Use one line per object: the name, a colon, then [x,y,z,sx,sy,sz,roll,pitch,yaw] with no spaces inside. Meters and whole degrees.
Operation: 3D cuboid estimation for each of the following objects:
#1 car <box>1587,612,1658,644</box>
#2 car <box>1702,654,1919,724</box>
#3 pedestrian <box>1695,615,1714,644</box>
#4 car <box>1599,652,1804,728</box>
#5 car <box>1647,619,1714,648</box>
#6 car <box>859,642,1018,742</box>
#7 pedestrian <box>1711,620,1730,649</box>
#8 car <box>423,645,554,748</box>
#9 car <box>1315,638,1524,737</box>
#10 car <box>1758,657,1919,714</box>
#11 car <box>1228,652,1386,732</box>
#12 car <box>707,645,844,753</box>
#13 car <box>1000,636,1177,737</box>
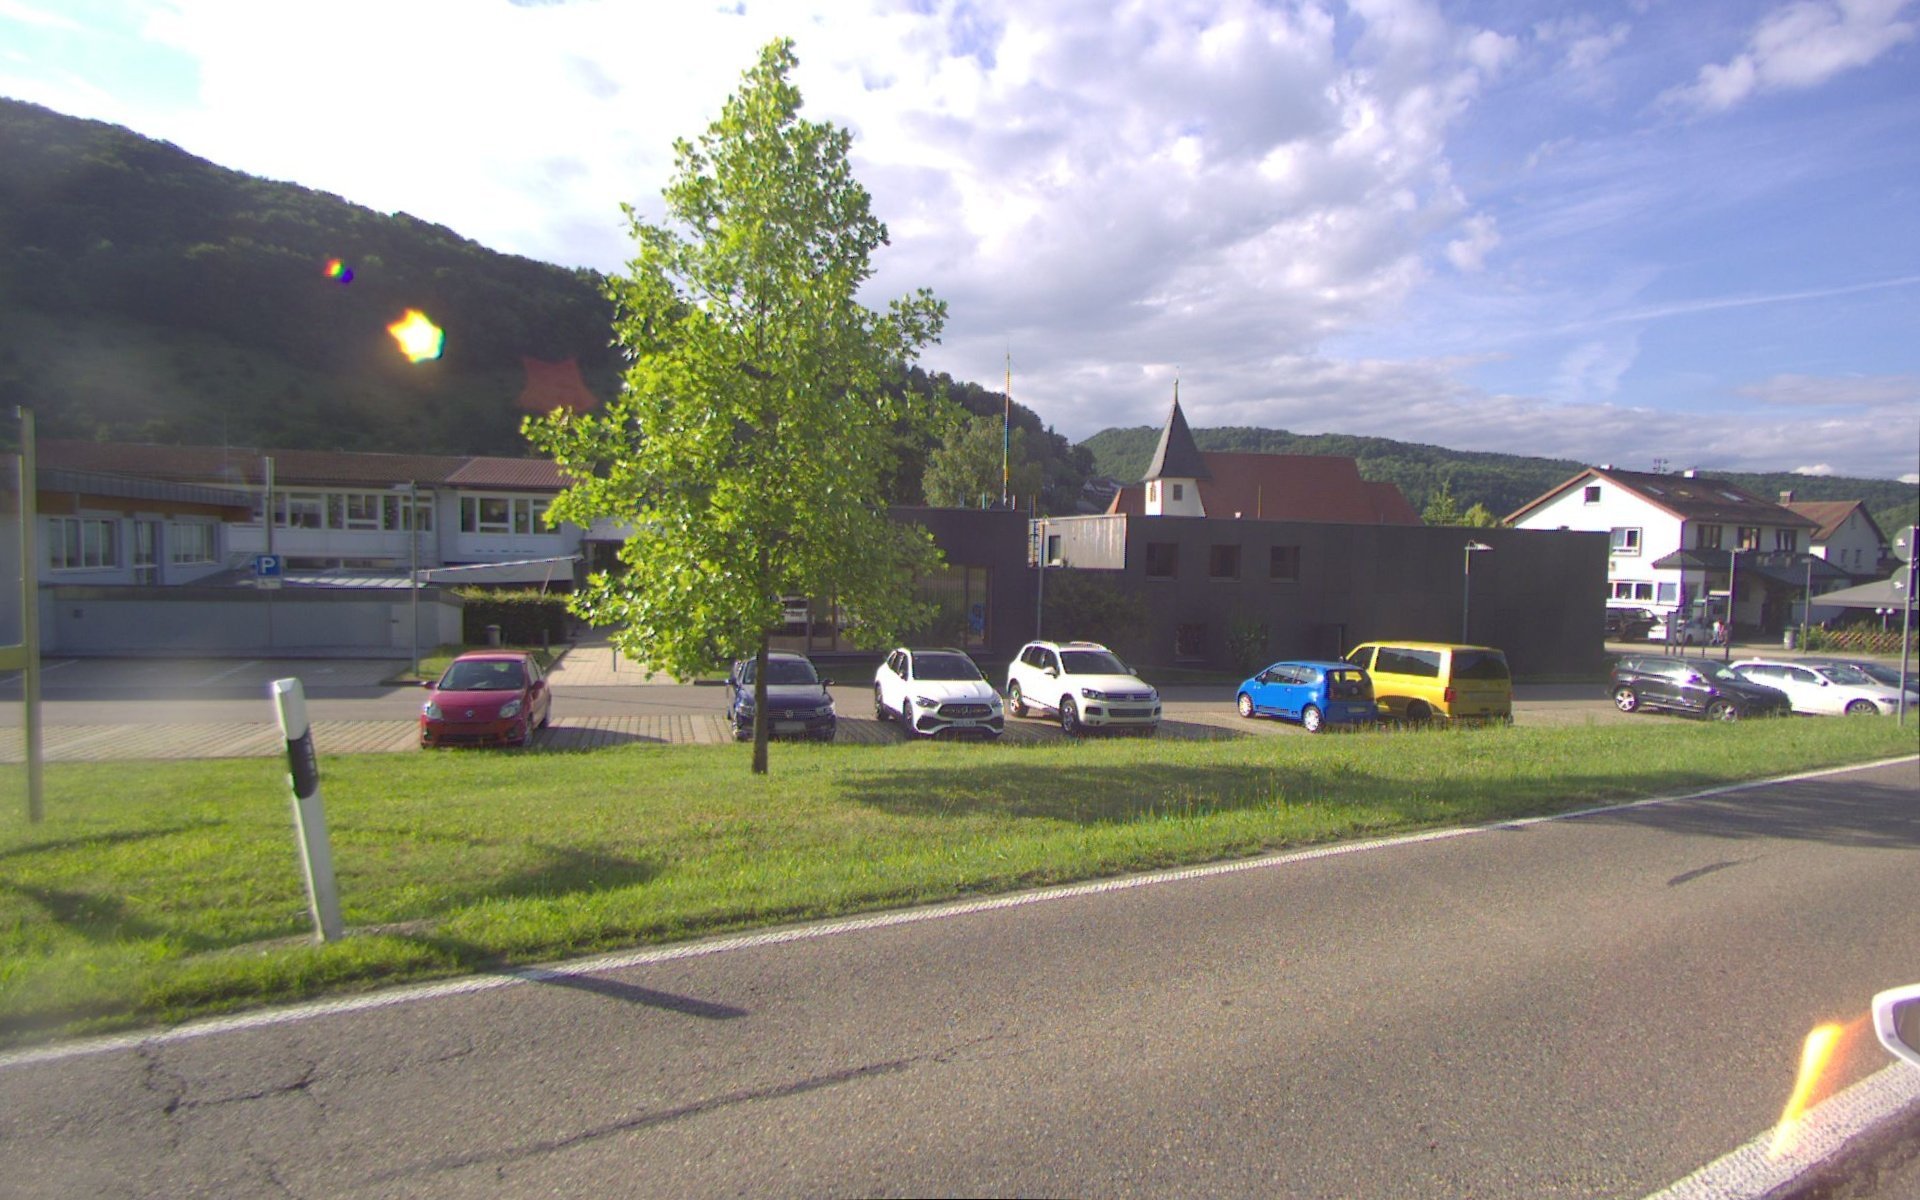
car: [38.096,1.598,57.785,3.955,1.684,1.877,2,0,-31]
car: [24.107,2.433,28.421,1.852,1.513,4.809,2,0,-18]
pedestrian: [40.208,1.608,54.246,0.583,1.523,0.605,2,0,-31]
car: [19.813,2.359,27.043,1.969,1.659,4.021,2,0,-18]
car: [39.911,1.877,55.631,3.955,1.469,1.547,2,0,-31]
car: [-0.585,1.773,20.426,1.969,1.575,4.535,2,0,-18]
pedestrian: [40.546,1.831,53.547,0.583,1.523,0.605,2,0,-31]
car: [-8.145,1.607,17.632,1.590,1.416,3.717,2,0,-18]
car: [10.630,1.976,23.696,1.967,1.893,4.611,2,0,-15]
car: [26.506,2.496,29.874,1.735,1.327,3.978,2,0,-22]
car: [7.981,2.081,23.390,1.608,1.492,3.488,2,0,-20]
car: [-3.680,1.791,19.349,1.969,1.575,4.535,2,0,-18]
car: [2.607,1.764,21.616,1.969,1.725,4.535,2,0,-18]
